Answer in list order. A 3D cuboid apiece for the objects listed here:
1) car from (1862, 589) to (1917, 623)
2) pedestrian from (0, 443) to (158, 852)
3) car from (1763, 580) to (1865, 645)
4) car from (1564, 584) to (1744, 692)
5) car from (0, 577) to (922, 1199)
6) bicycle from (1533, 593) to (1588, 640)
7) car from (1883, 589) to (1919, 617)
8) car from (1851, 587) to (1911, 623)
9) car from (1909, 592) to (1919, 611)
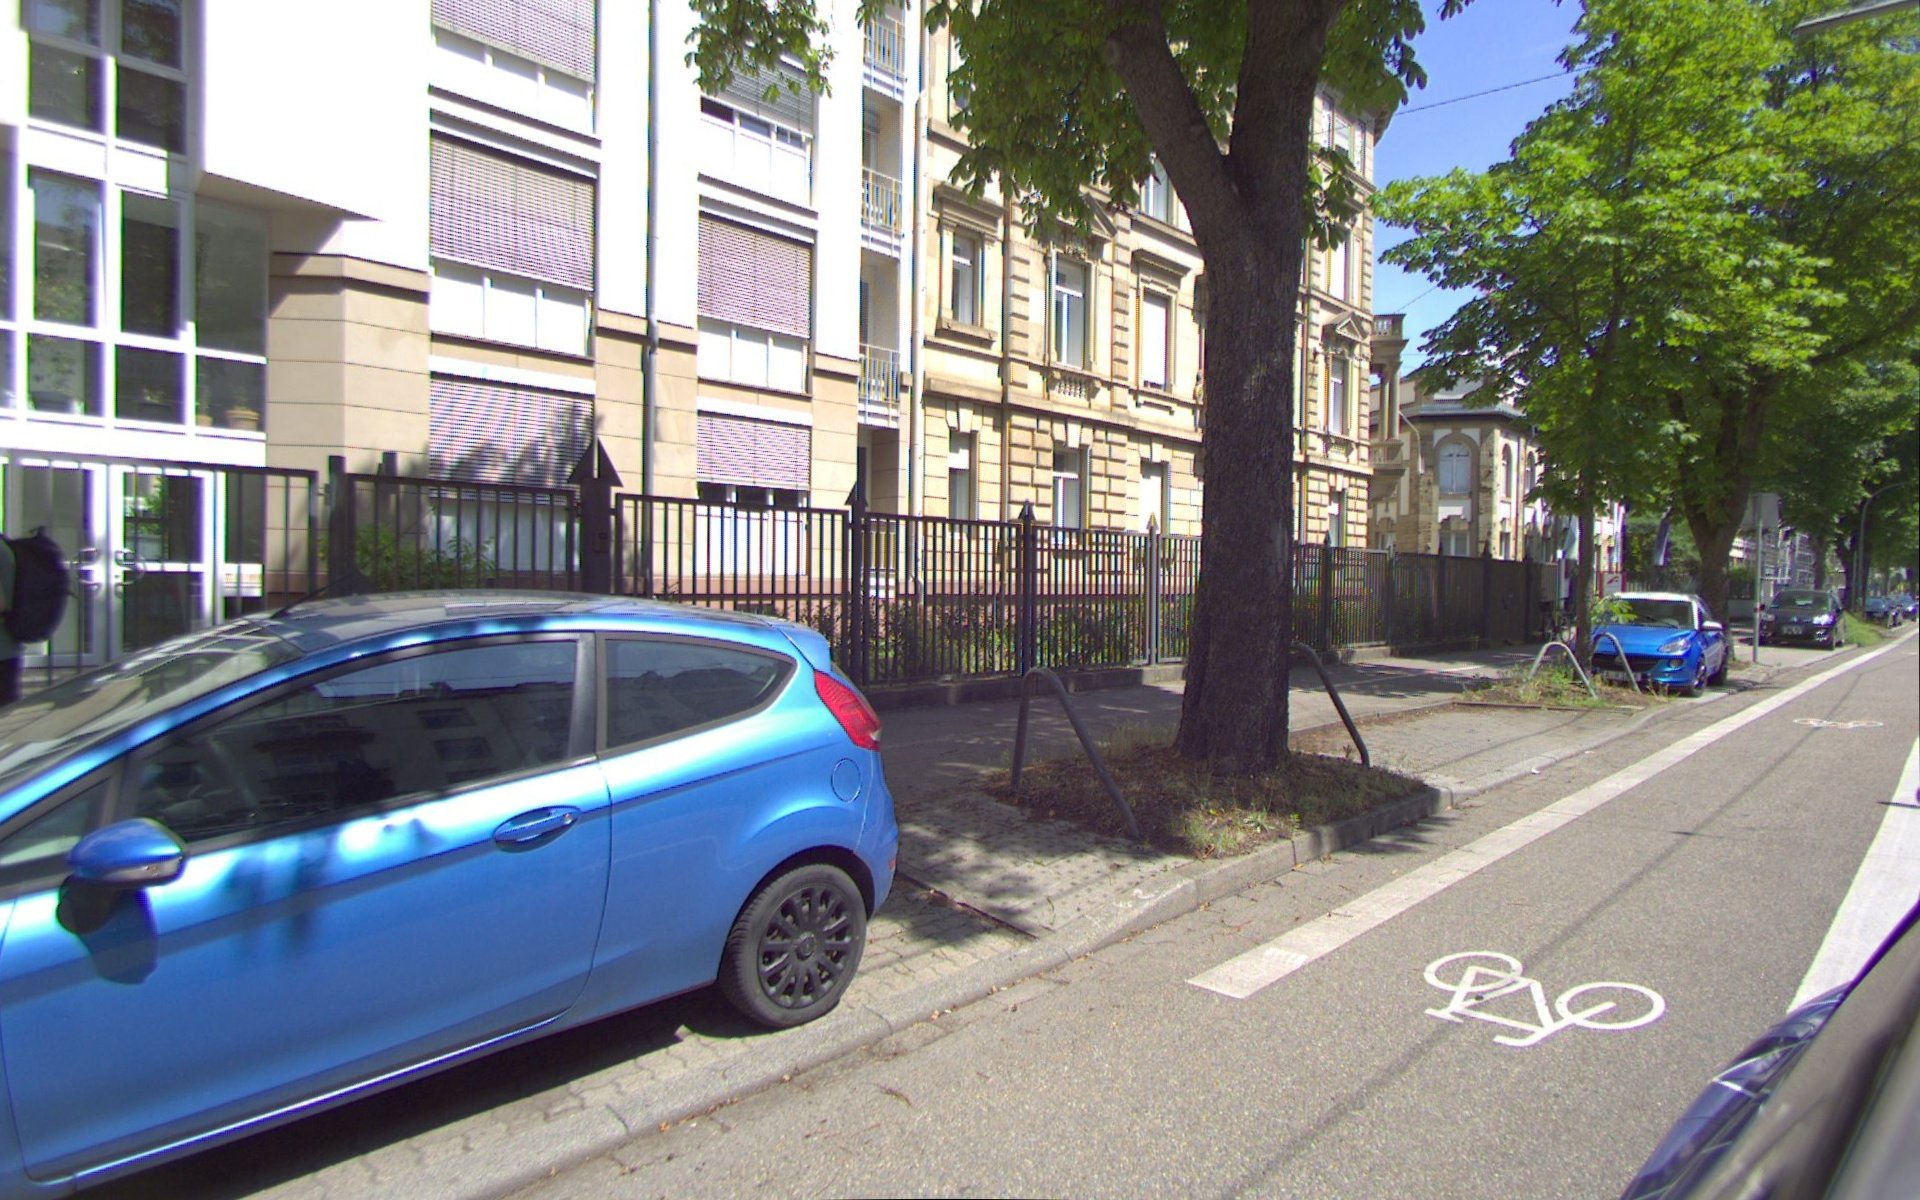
[{"bbox_3d":[44.218,0.263,48.118,3.934,1.420,1.624,0,4,-44],"label":"car"},{"bbox_3d":[-4.490,0.204,4.760,1.066,1.820,0.685,0,1,-44],"label":"pedestrian"},{"bbox_3d":[24.269,0.317,28.723,4.016,1.635,1.732,0,4,-44],"label":"car"},{"bbox_3d":[10.888,0.508,15.802,3.417,1.471,1.692,0,2,-45],"label":"car"},{"bbox_3d":[-2.029,0.677,3.138,3.660,1.461,1.678,0,2,-45],"label":"car"},{"bbox_3d":[14.730,0.390,24.798,1.946,1.084,0.608,0,1,-42],"label":"bicycle"},{"bbox_3d":[53.142,0.146,56.836,3.934,1.420,1.624,0,4,-44],"label":"car"},{"bbox_3d":[39.888,0.198,43.804,3.760,1.420,1.624,0,4,-44],"label":"car"},{"bbox_3d":[77.098,0.153,80.852,3.934,1.420,1.624,0,4,-44],"label":"car"}]
